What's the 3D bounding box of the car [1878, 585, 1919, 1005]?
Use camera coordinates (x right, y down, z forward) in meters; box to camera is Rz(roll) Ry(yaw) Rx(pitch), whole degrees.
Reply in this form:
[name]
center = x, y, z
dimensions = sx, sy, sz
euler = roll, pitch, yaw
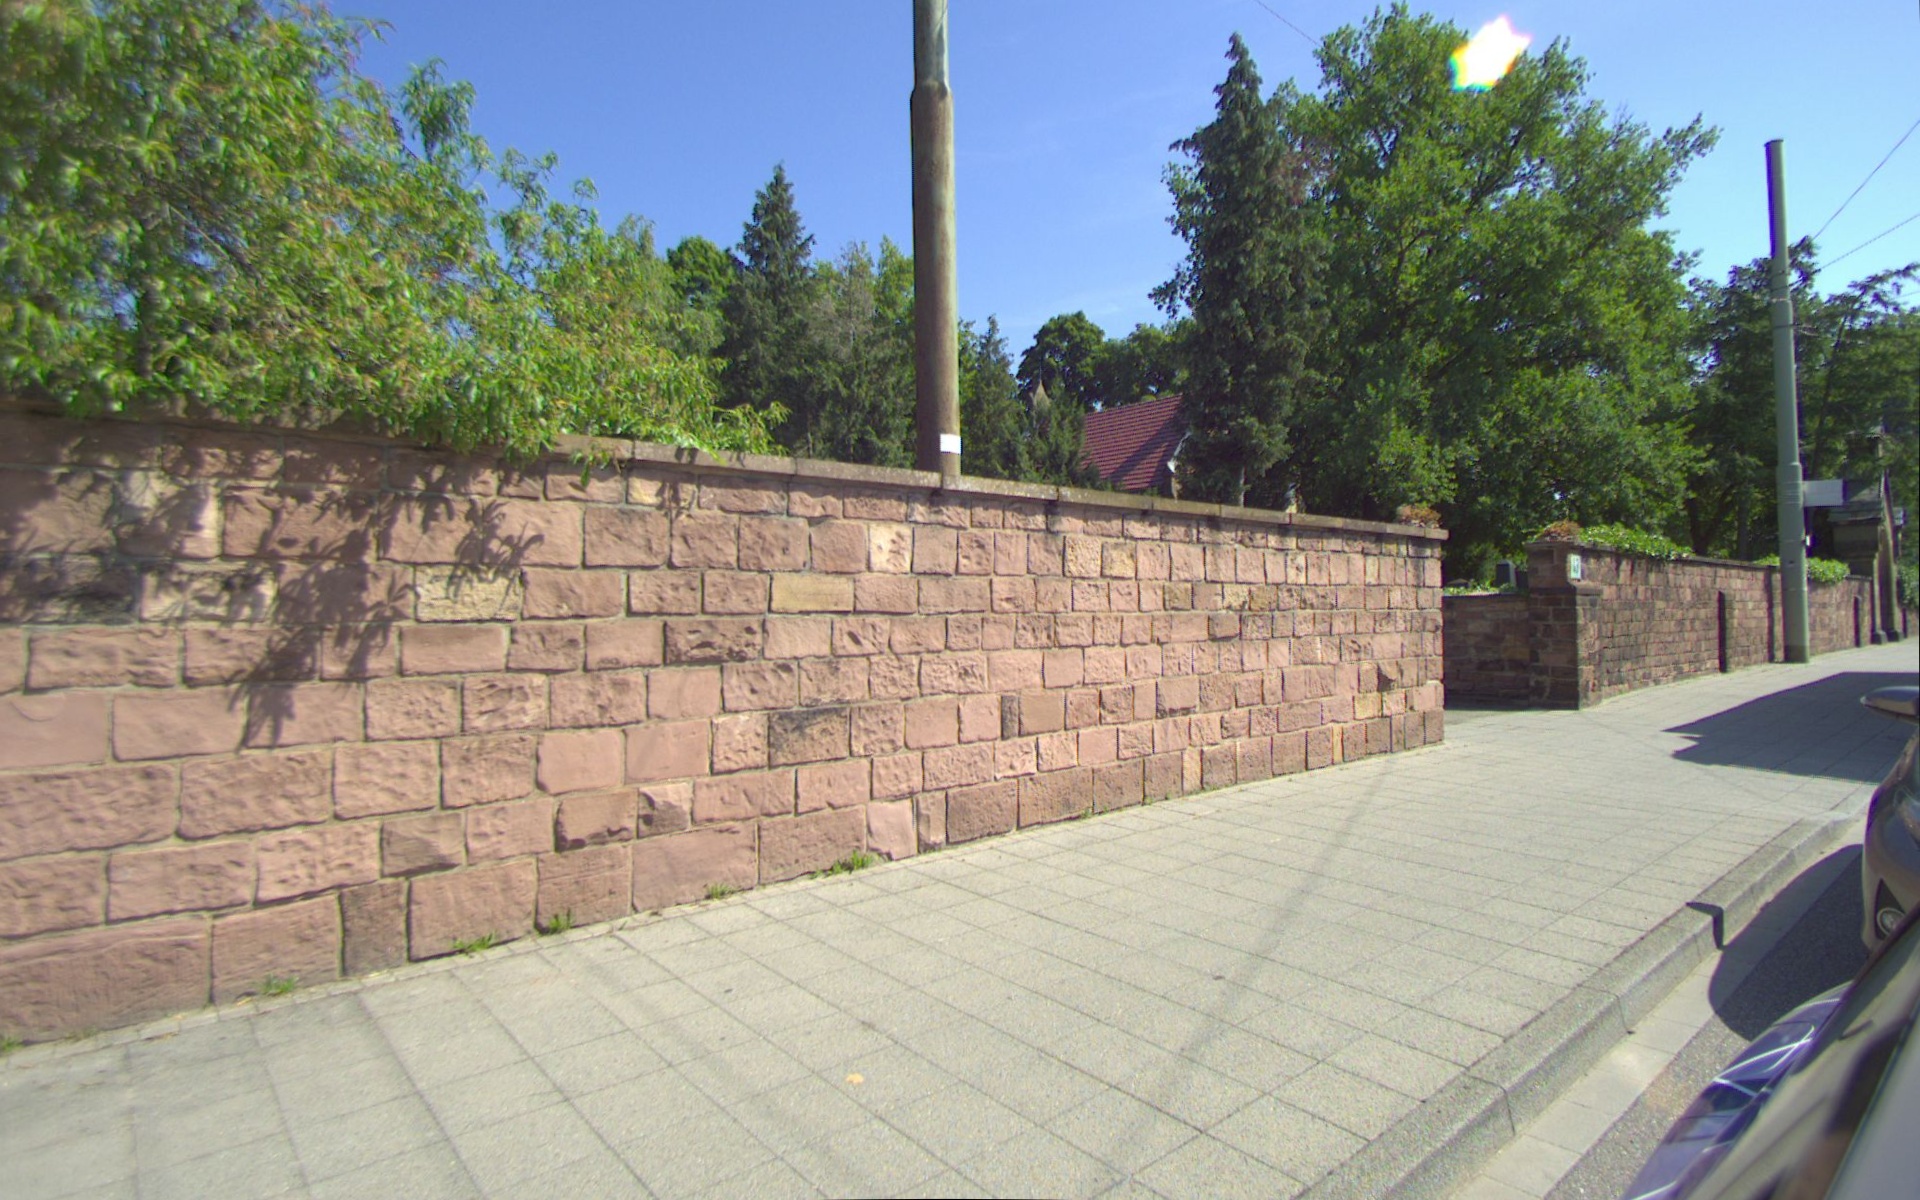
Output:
[car]
center = 5.141, 0.646, 4.115
dimensions = 3.930, 1.400, 1.653
euler = 0, 1, -41
